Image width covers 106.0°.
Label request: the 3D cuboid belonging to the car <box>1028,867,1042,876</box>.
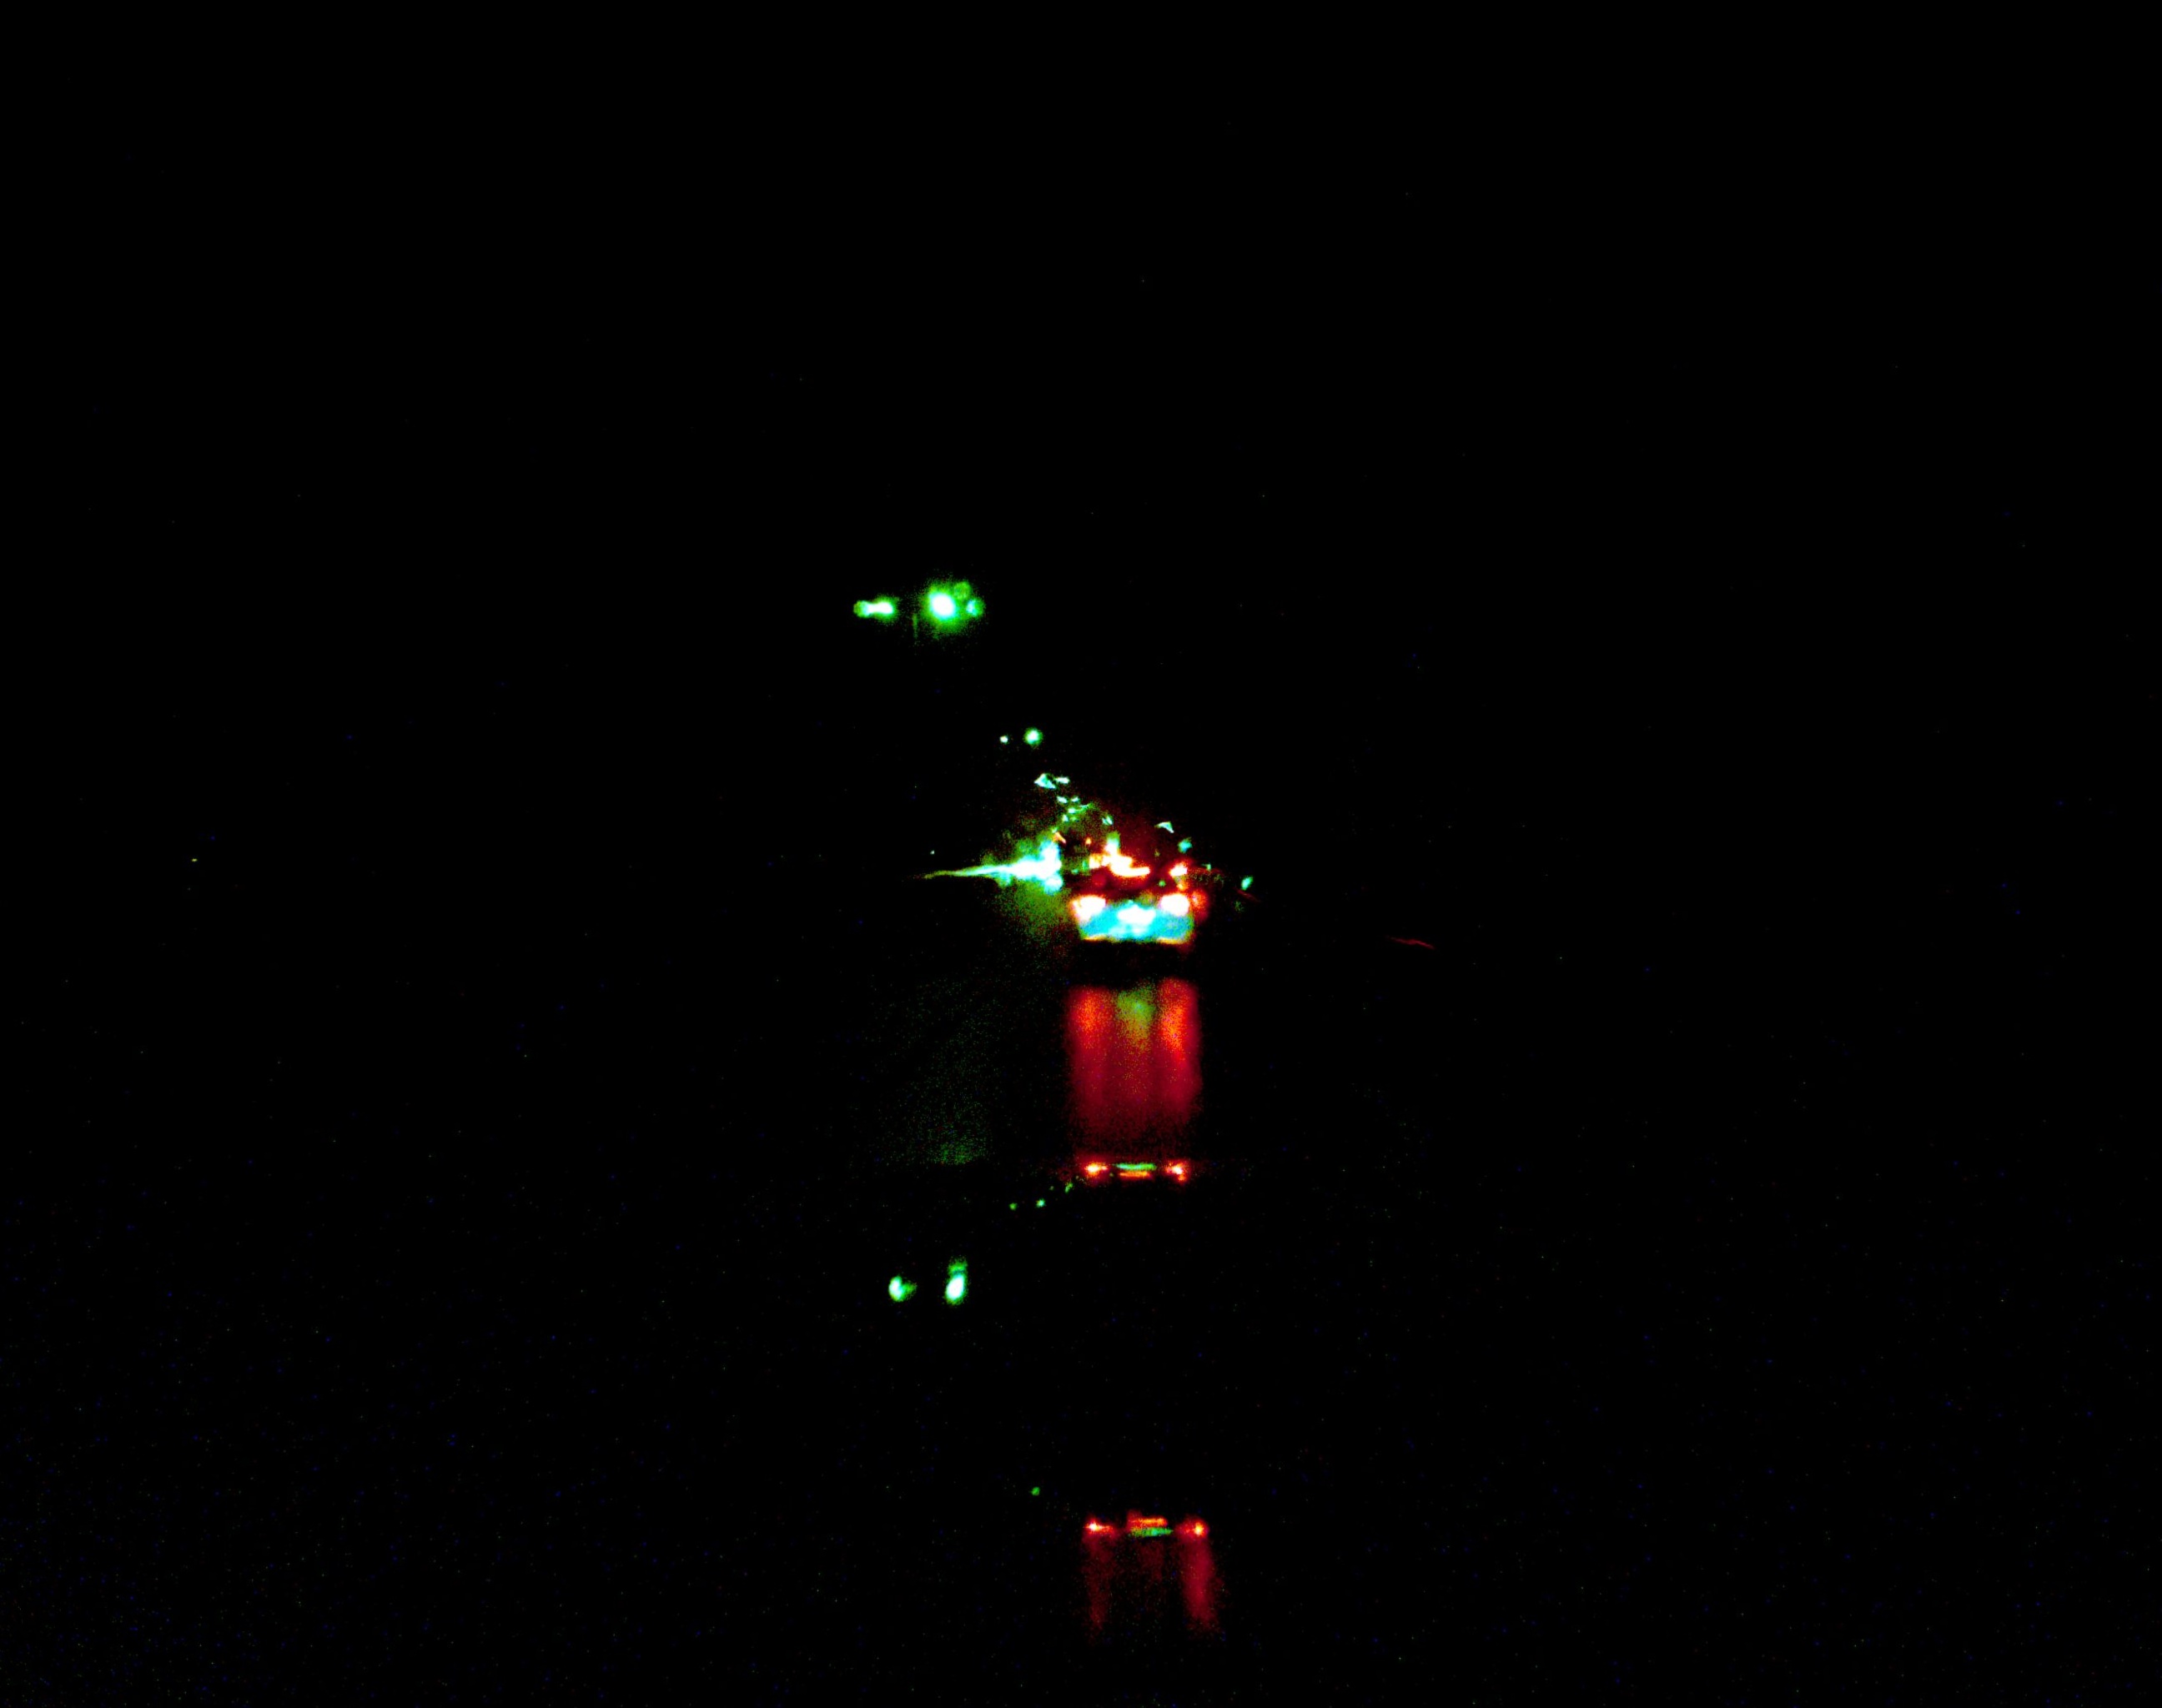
[{"bbox_3d":[-7.889,3.028,139.856,2.015,1.502,4.899,1,-2,2],"label":"car"}]

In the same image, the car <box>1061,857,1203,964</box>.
[{"bbox_3d":[0.985,0.819,13.331,1.933,1.491,3.725,-1,-1,9],"label":"car"}]

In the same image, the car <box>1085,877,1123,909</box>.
[{"bbox_3d":[1.189,1.935,41.017,1.814,1.461,3.719,-1,-1,3],"label":"car"}]

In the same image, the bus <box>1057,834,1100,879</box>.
[{"bbox_3d":[-0.080,0.181,61.042,2.733,3.123,9.206,1,0,2],"label":"bus"}]

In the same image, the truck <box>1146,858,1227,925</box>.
[{"bbox_3d":[4.532,1.530,34.913,3.053,2.529,7.180,0,-2,8],"label":"truck"}]
